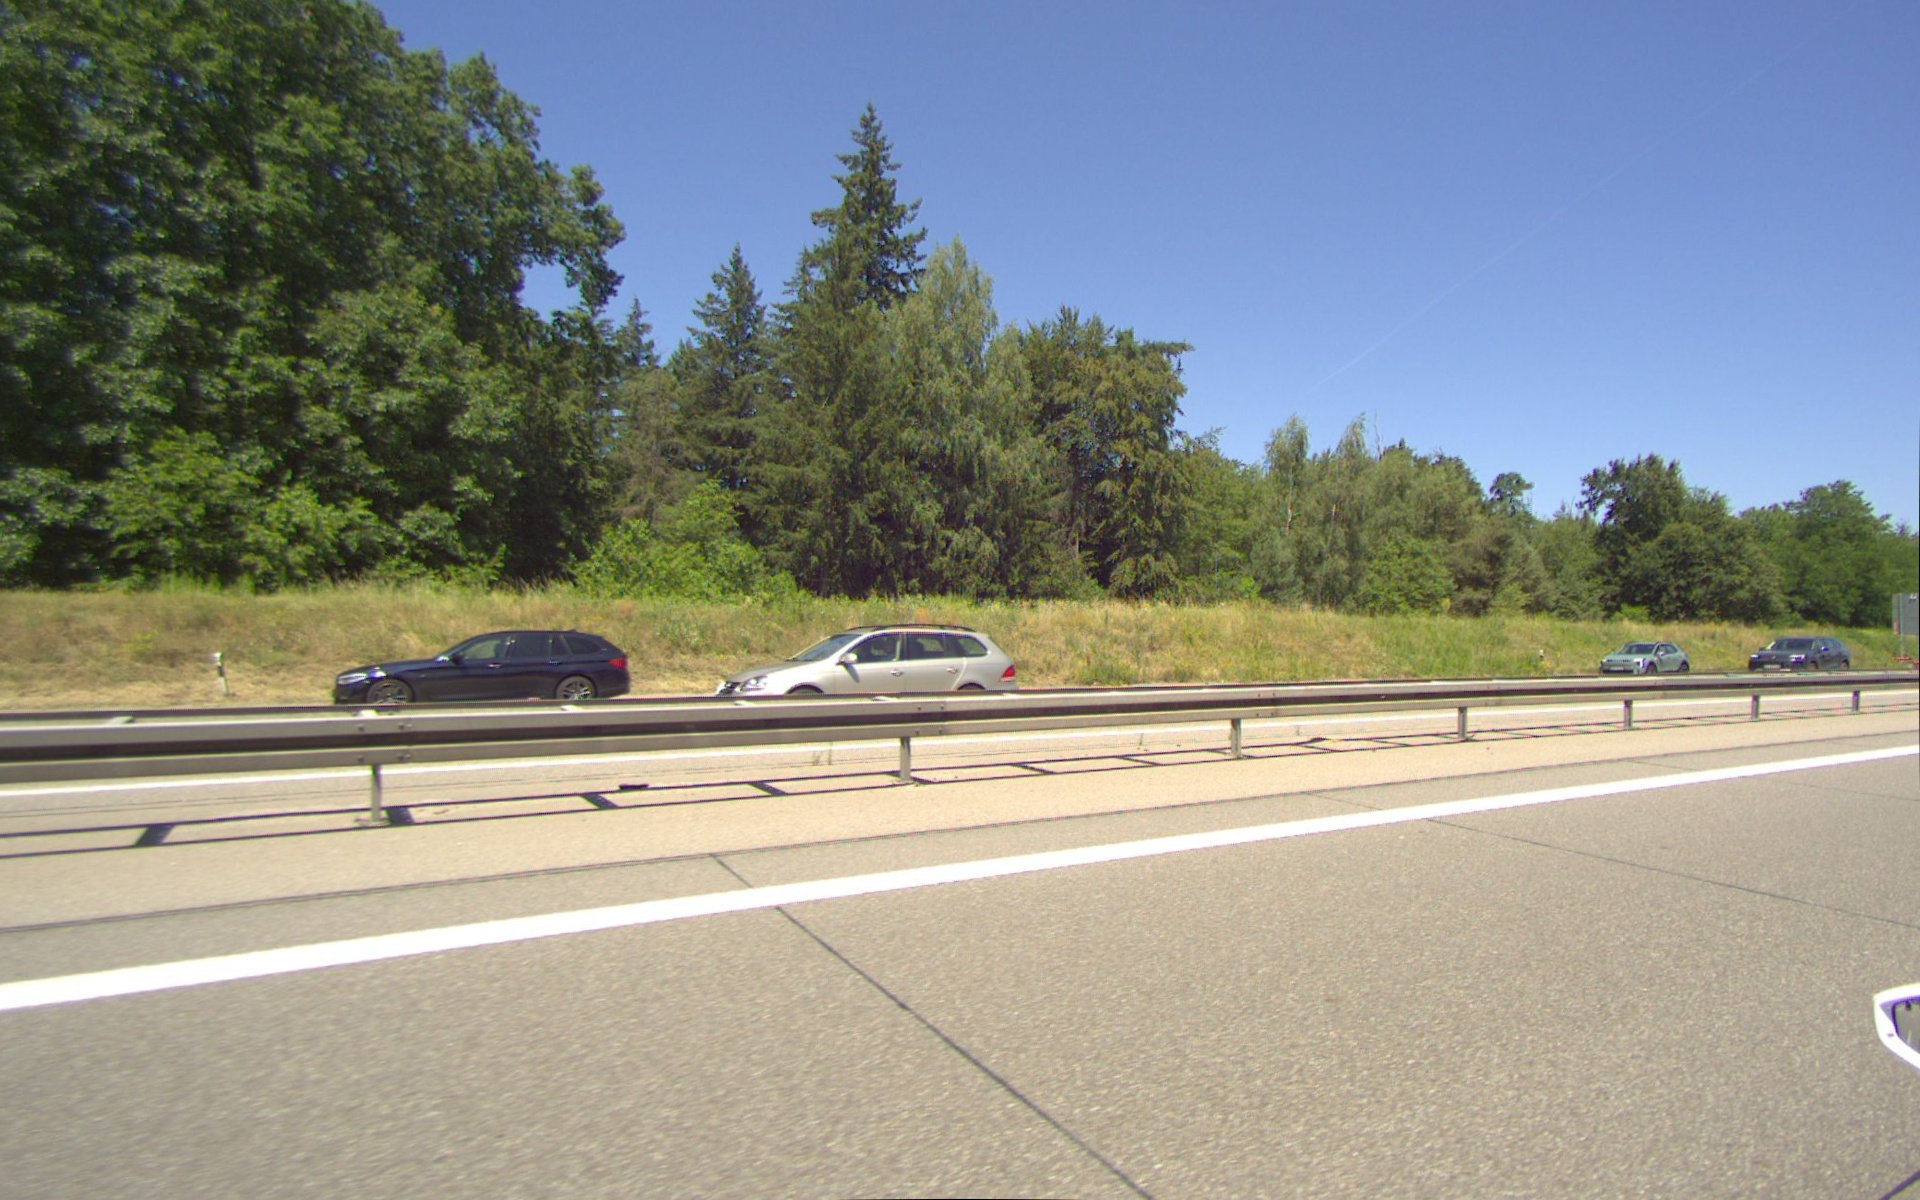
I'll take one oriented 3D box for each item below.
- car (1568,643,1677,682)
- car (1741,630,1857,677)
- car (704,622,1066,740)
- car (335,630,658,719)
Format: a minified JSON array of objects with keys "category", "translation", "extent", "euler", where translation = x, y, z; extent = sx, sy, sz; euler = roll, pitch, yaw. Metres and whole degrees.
[{"category":"car","translation":[25.528,2.390,38.678],"extent":[4.545,1.428,1.663],"euler":[2,-4,-31]},{"category":"car","translation":[31.476,2.008,37.649],"extent":[4.929,1.639,1.786],"euler":[2,-4,-31]},{"category":"car","translation":[-0.996,1.131,14.702],"extent":[5.062,1.478,1.753],"euler":[2,-4,-31]},{"category":"car","translation":[-8.279,1.303,18.237],"extent":[5.115,1.429,1.647],"euler":[2,-4,-30]}]
